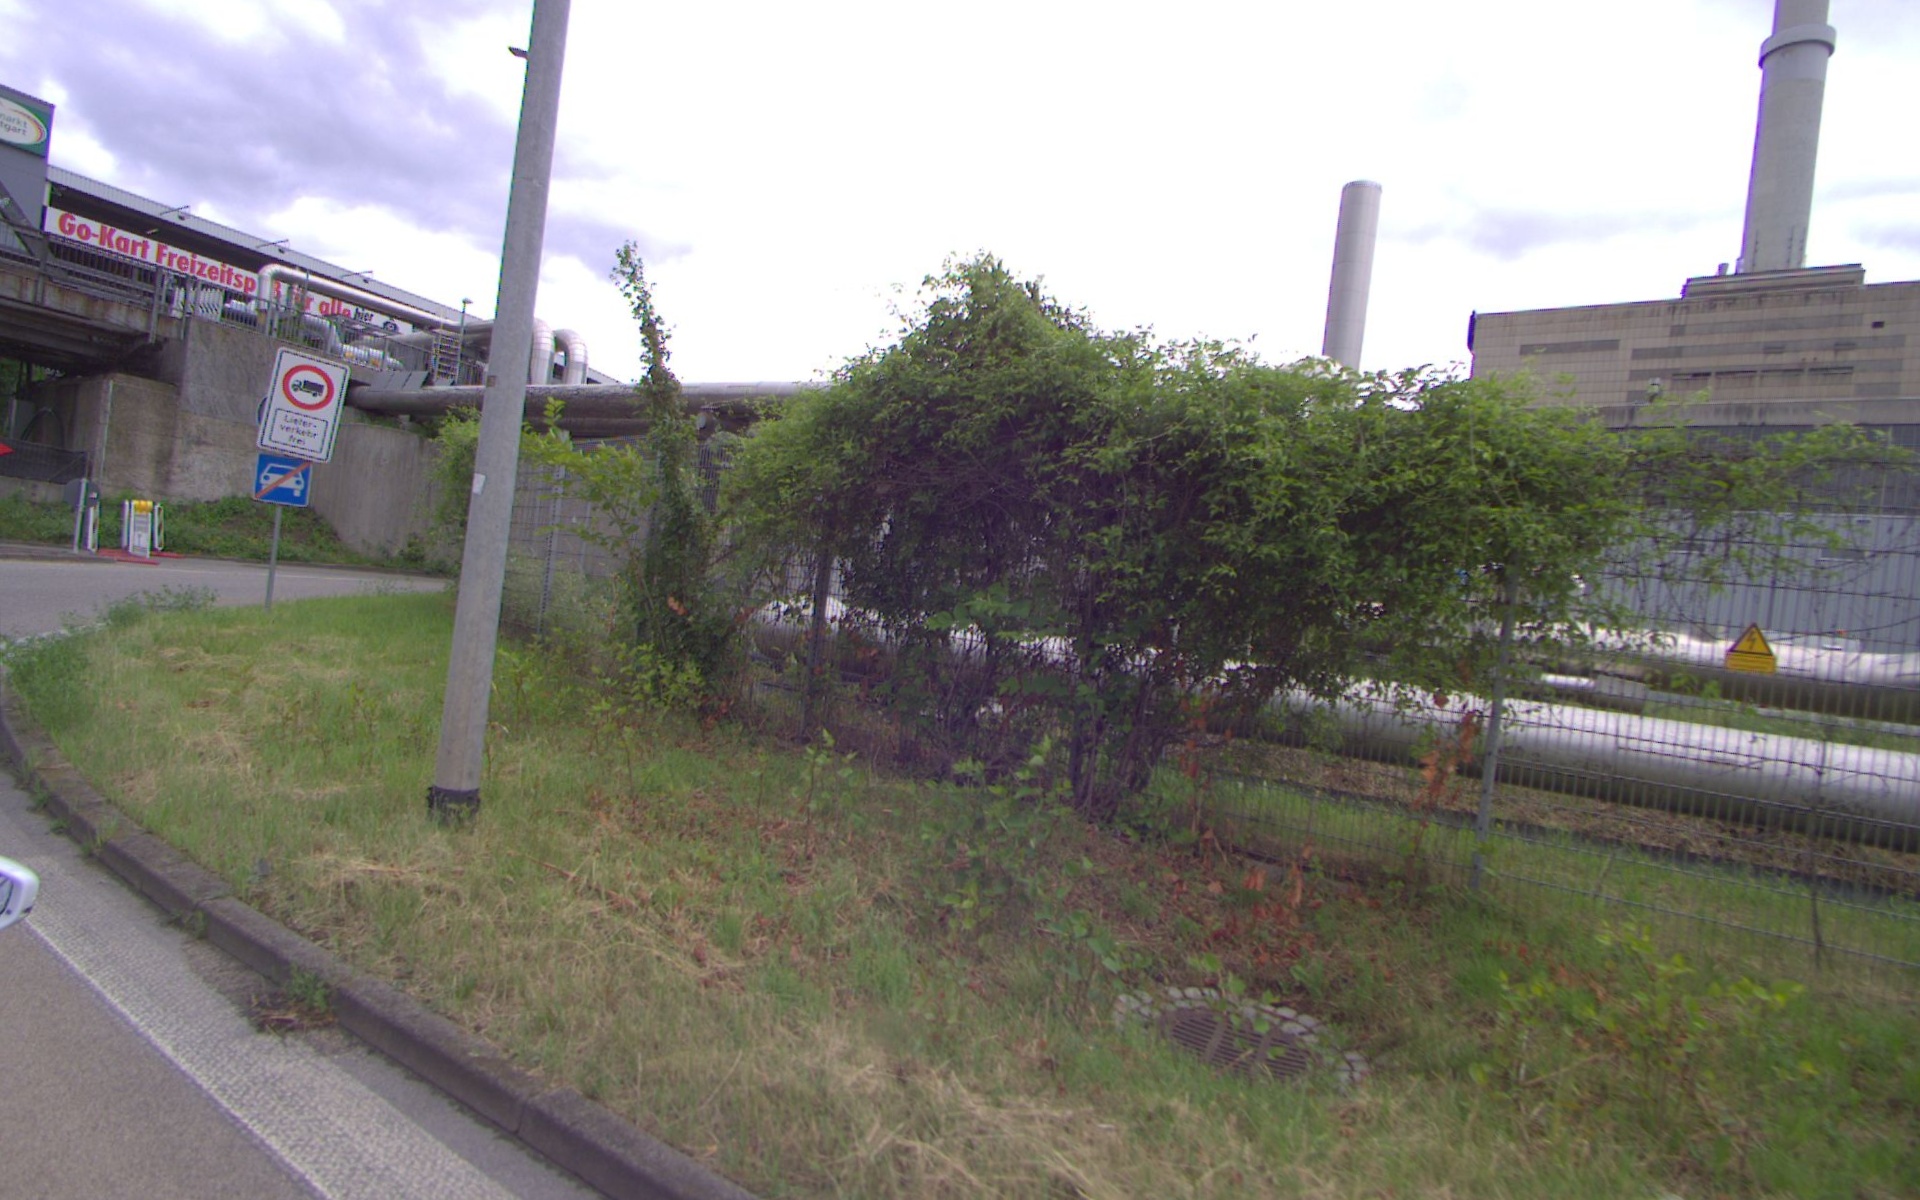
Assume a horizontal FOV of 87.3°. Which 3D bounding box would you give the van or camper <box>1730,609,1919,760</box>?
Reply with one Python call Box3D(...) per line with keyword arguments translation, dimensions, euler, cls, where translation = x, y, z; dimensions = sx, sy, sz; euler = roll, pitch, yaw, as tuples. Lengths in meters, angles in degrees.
Box3D(translation=(18.451, 1.842, 21.772), dimensions=(2.538, 2.579, 6.104), euler=(7, -1, 38), cls="van or camper")
